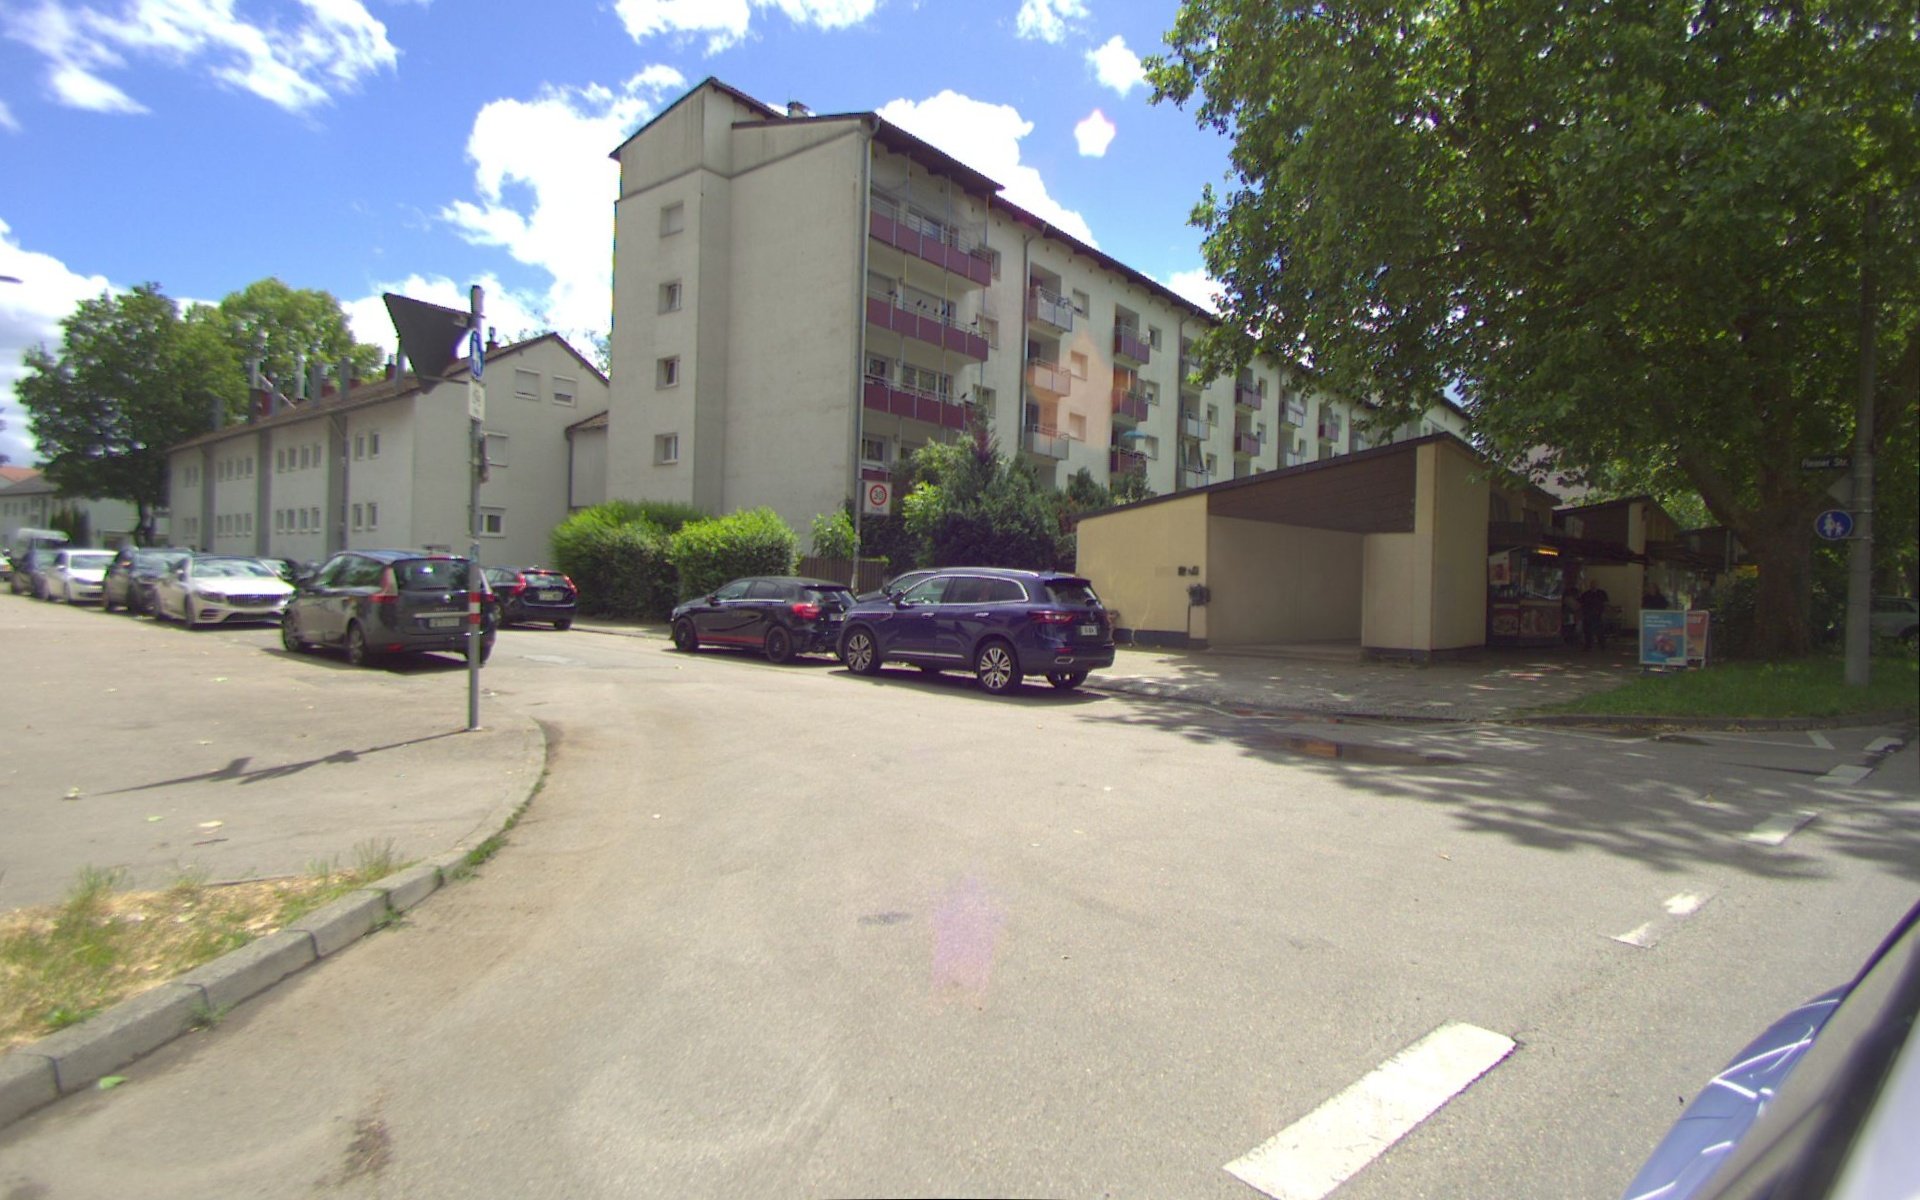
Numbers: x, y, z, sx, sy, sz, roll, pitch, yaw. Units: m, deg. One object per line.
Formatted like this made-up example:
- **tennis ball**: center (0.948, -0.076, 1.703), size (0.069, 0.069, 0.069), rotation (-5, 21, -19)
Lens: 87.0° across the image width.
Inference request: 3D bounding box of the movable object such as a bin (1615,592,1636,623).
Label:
- **movable object such as a bin**: center (20.053, 0.220, 30.491), size (0.436, 0.925, 0.579), rotation (3, 2, 39)

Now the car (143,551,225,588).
- **car**: center (-32.543, -1.290, 42.384), size (4.044, 1.426, 1.930), rotation (2, 1, 41)

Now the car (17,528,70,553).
- **car**: center (-56.255, -3.619, 62.127), size (4.045, 1.426, 1.930), rotation (3, 2, 40)

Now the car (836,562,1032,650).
- **car**: center (-0.625, 0.061, 21.694), size (4.089, 1.675, 1.784), rotation (3, 2, 41)

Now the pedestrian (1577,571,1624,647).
- **pedestrian**: center (15.168, 0.189, 23.971), size (0.759, 1.746, 0.648), rotation (3, 2, 45)

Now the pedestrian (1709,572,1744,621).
- **pedestrian**: center (29.280, -0.146, 38.684), size (0.595, 1.823, 0.926), rotation (1, 2, 3)

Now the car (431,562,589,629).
- **car**: center (-10.864, -0.149, 24.318), size (4.103, 1.472, 1.849), rotation (2, 1, 40)

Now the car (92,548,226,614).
- **car**: center (-19.700, -0.504, 24.836), size (4.227, 1.475, 1.865), rotation (2, 2, 41)

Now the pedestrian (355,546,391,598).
- **pedestrian**: center (-20.310, -0.955, 35.004), size (0.948, 1.777, 0.828), rotation (0, 0, 40)

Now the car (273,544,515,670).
- **car**: center (-8.560, 0.015, 15.152), size (4.227, 1.624, 1.865), rotation (2, 2, 41)

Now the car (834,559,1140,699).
- **car**: center (0.298, 0.312, 14.849), size (4.176, 1.703, 1.983), rotation (3, 1, 41)

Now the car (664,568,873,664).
- **car**: center (-3.484, 0.221, 18.010), size (3.984, 1.461, 1.503), rotation (3, 1, 41)

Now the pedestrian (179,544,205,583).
- **pedestrian**: center (-36.314, -1.716, 47.856), size (0.948, 1.777, 0.828), rotation (0, 0, 40)

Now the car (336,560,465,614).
- **car**: center (-16.057, -0.408, 28.983), size (4.044, 1.426, 1.930), rotation (2, 1, 41)

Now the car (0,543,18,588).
- **car**: center (-39.524, -1.421, 40.635), size (3.981, 1.771, 1.972), rotation (2, 2, 39)

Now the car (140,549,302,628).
- **car**: center (-15.455, -0.287, 21.078), size (4.227, 1.475, 1.865), rotation (2, 2, 41)

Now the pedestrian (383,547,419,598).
- **pedestrian**: center (-19.761, -0.961, 35.774), size (0.948, 1.777, 0.828), rotation (0, 0, 40)

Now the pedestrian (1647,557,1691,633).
- **pedestrian**: center (16.142, -0.114, 23.045), size (0.758, 1.697, 0.625), rotation (0, 1, -41)

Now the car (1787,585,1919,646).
- **car**: center (26.423, 0.425, 29.208), size (3.829, 1.581, 1.595), rotation (3, 3, 43)

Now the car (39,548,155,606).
- **car**: center (-23.899, -0.660, 27.975), size (4.227, 1.475, 1.865), rotation (2, 2, 41)
